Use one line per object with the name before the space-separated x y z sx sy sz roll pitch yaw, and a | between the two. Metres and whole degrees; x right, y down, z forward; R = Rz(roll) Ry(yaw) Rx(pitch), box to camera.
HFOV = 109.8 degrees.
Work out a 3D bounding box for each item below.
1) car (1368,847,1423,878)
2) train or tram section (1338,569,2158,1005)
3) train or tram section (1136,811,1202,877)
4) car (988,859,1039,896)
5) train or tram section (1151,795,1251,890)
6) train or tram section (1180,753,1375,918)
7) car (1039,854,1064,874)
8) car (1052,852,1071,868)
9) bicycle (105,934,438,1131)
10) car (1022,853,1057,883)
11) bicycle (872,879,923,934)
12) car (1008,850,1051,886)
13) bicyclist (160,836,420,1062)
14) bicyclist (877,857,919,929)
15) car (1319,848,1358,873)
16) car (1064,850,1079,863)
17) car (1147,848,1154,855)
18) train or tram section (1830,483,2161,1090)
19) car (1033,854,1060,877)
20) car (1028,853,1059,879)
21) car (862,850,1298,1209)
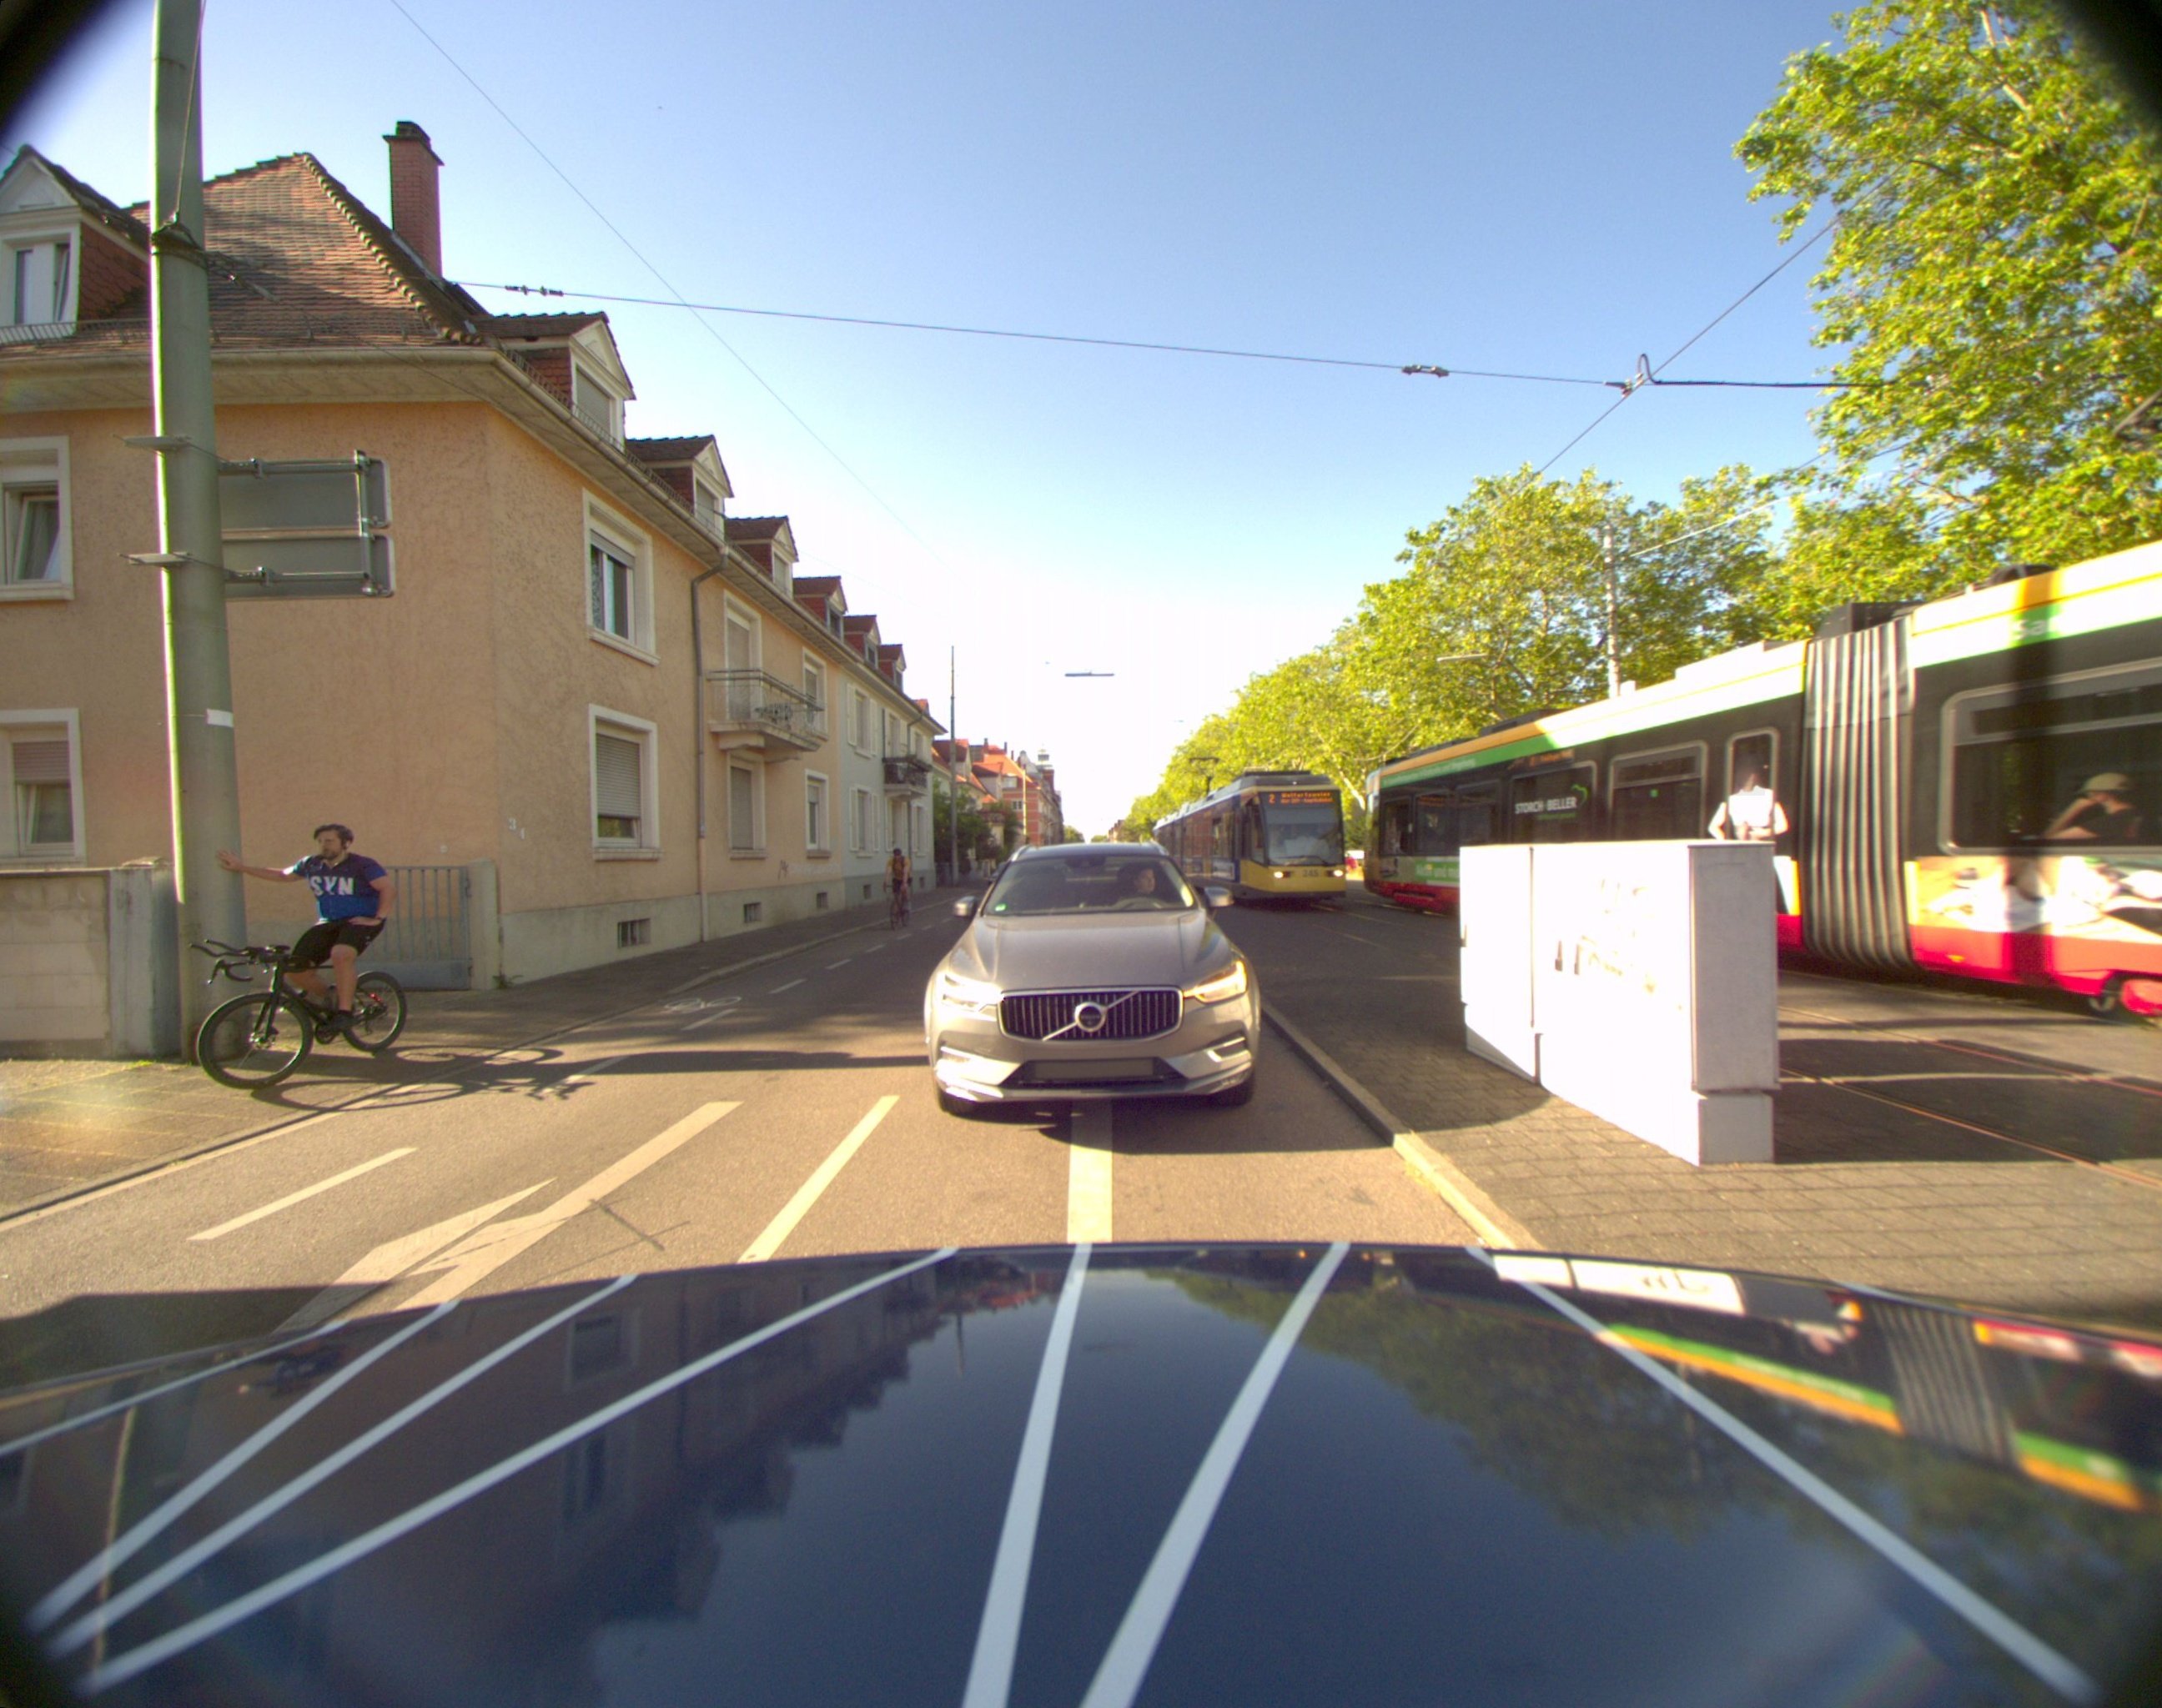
car | 16.876 0.426 40.898 1.599 1.498 3.304 -3 0 1
train or tram section | 8.121 -0.612 13.245 2.939 3.791 13.053 -1 0 1
train or tram section | 5.344 -0.578 48.544 2.717 3.643 12.653 -1 0 0
car | -3.232 1.085 37.047 1.695 1.571 3.815 -3 0 5
train or tram section | 5.263 -0.487 35.922 2.717 3.643 12.653 -1 0 0
train or tram section | 5.214 -0.437 23.299 2.717 3.643 12.653 -1 0 0
car | -2.564 0.860 67.075 1.793 1.673 3.814 -3 0 2
car | -2.166 0.635 85.370 1.793 1.673 3.814 -3 0 2
bicycle | -6.014 1.257 5.825 0.592 1.062 1.775 4 0 1
car | -2.595 0.854 48.485 1.793 1.673 3.814 -3 0 2
bicycle | -4.251 1.197 17.751 0.685 1.098 1.806 -2 1 1
car | -2.834 0.742 42.820 1.793 1.828 5.149 -3 0 2
bicyclist | -6.204 0.697 6.030 1.051 1.599 0.885 4 0 1
bicyclist | -4.260 0.891 17.744 0.685 1.611 0.855 -2 1 1
car | 16.867 0.434 49.869 1.599 1.498 2.622 -3 0 1
car | -1.310 0.365 107.103 1.793 1.673 3.814 -3 0 2
car | 19.627 -0.625 214.811 1.695 1.775 3.749 -3 0 1
train or tram section | 8.655 -0.431 0.430 2.941 3.791 12.813 -1 0 -6
car | -2.732 0.886 61.030 1.793 1.673 3.814 -3 0 2
car | -2.643 0.836 54.006 1.793 1.673 3.814 -3 0 2
car | 0.025 0.827 5.754 1.998 1.628 4.306 -2 0 1
